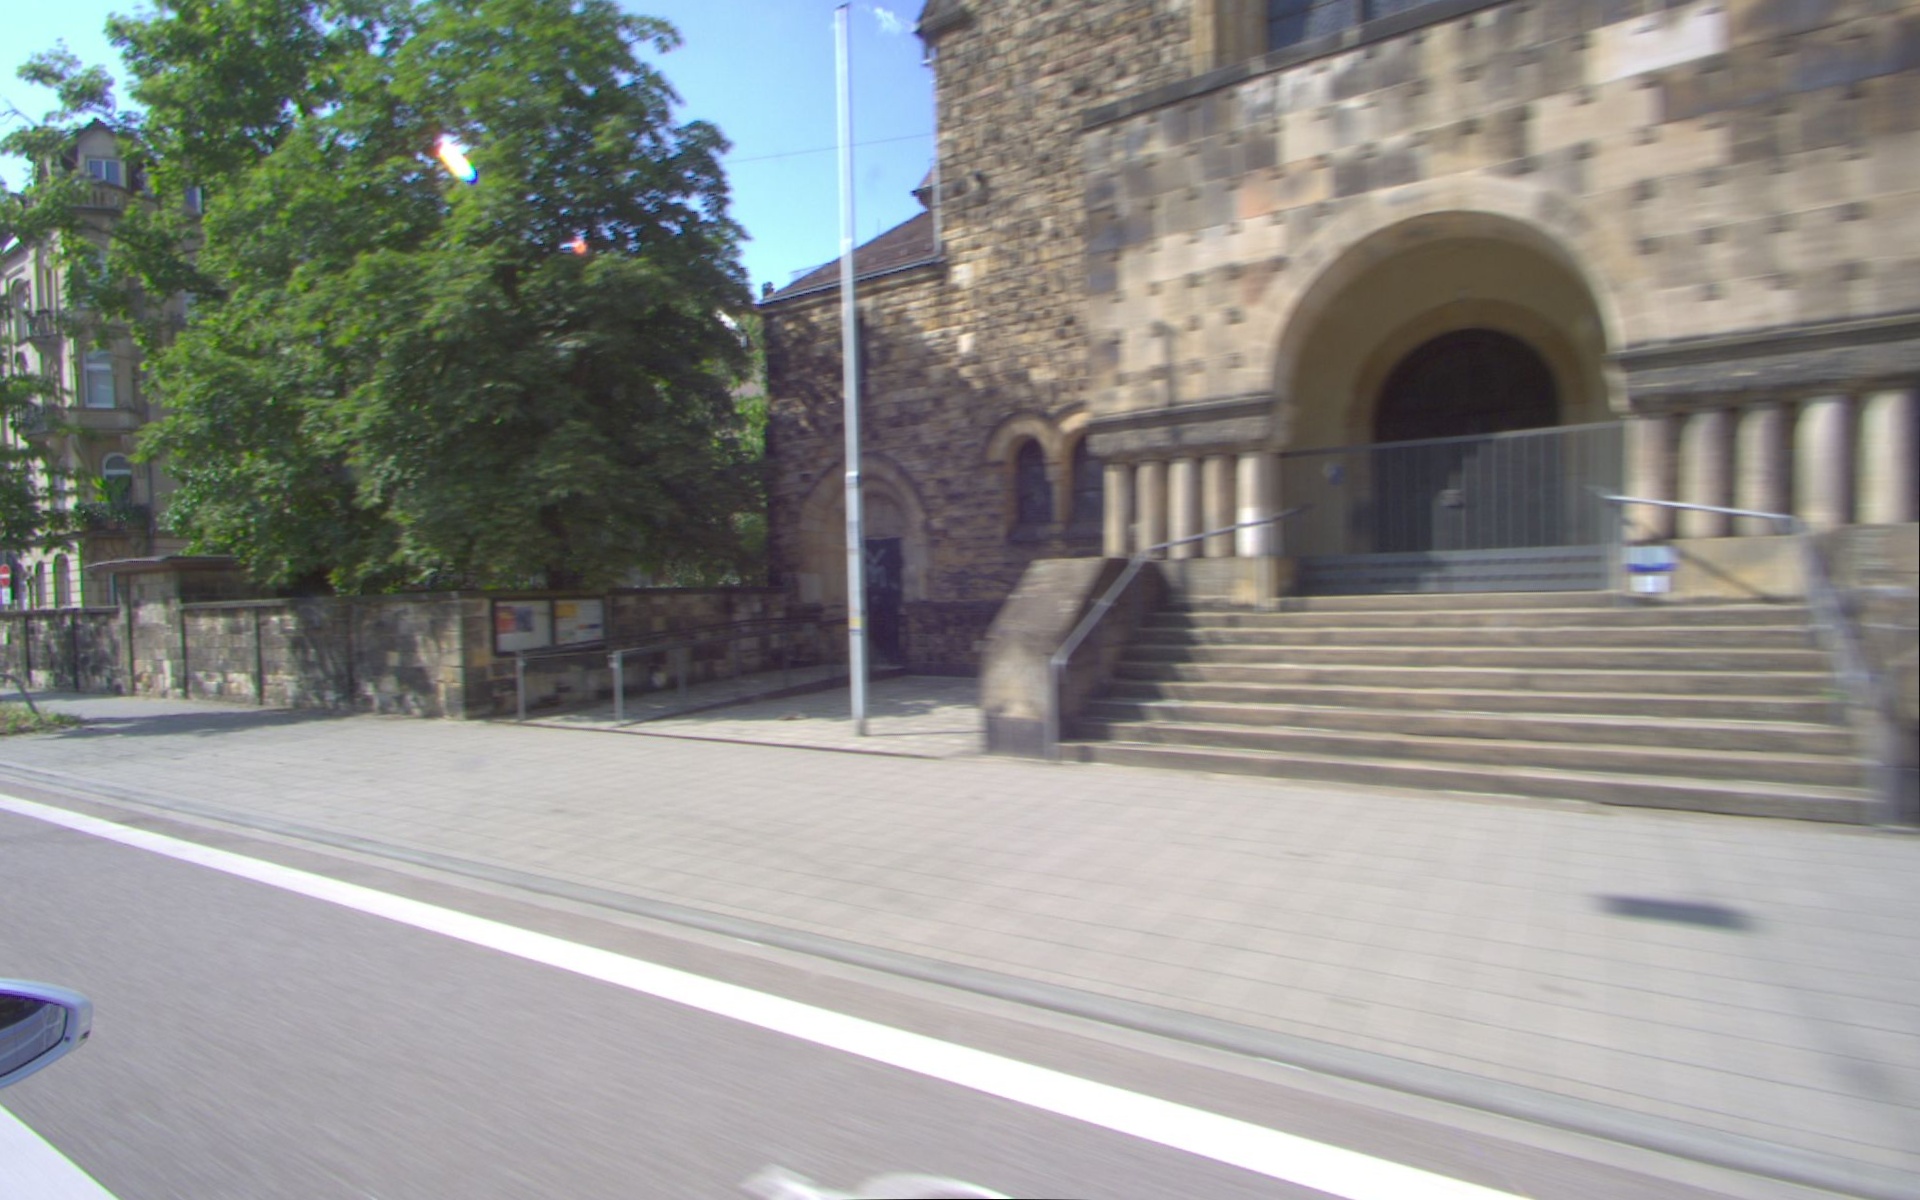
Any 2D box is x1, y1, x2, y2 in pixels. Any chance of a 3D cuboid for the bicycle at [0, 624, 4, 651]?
[{"bbox_3d":[-40.272,1.617,40.711,0.464,1.084,1.886,-1,4,27],"label":"bicycle"}]
